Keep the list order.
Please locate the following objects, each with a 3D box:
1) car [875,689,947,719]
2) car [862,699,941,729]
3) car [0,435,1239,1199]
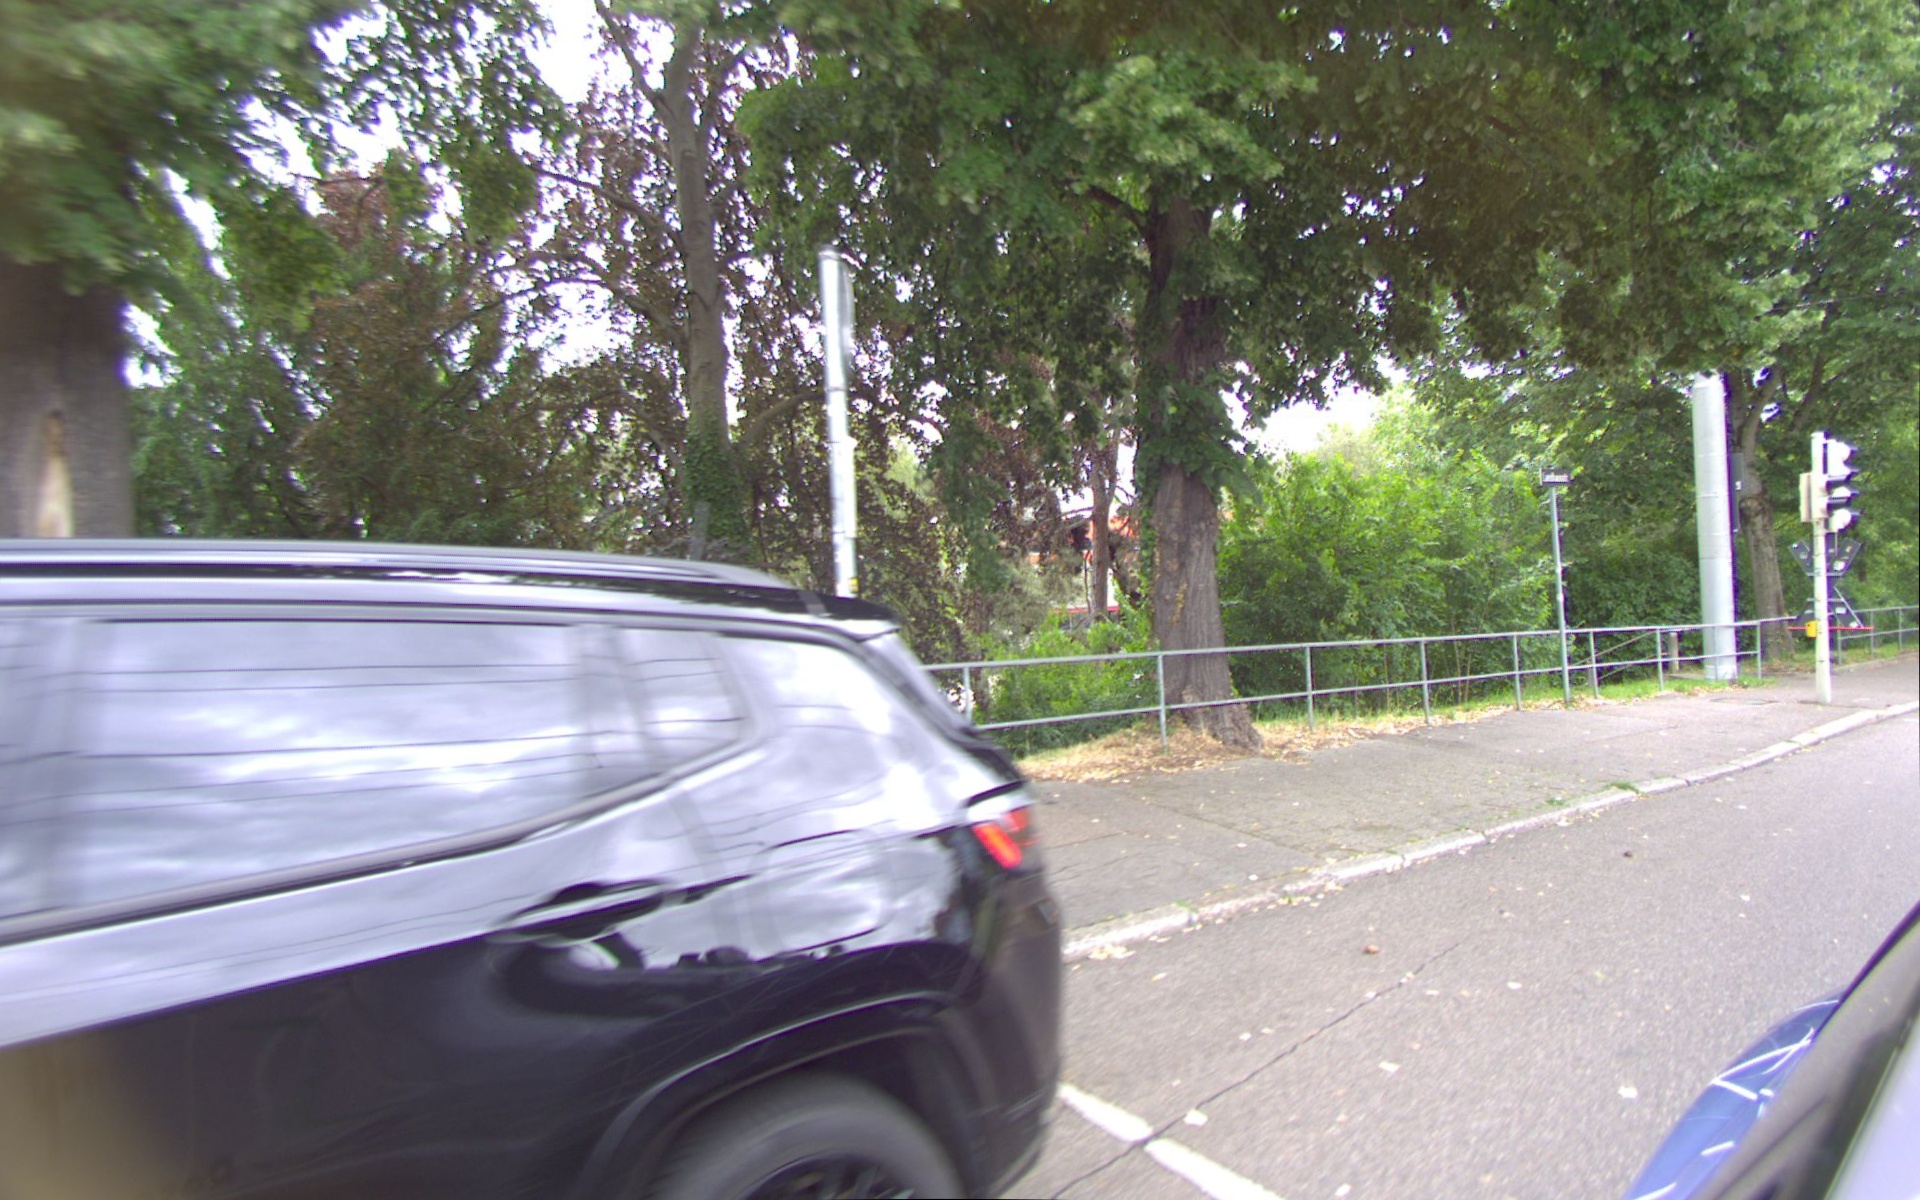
[{"bbox_3d":[-3.041,6.349,61.919,4.256,1.487,2.002,-2,0,-6],"label":"car"},{"bbox_3d":[-3.393,6.618,58.945,4.463,1.419,2.000,-2,0,0],"label":"car"},{"bbox_3d":[-1.824,0.660,1.722,4.511,1.635,1.911,-1,-1,-33],"label":"car"}]
